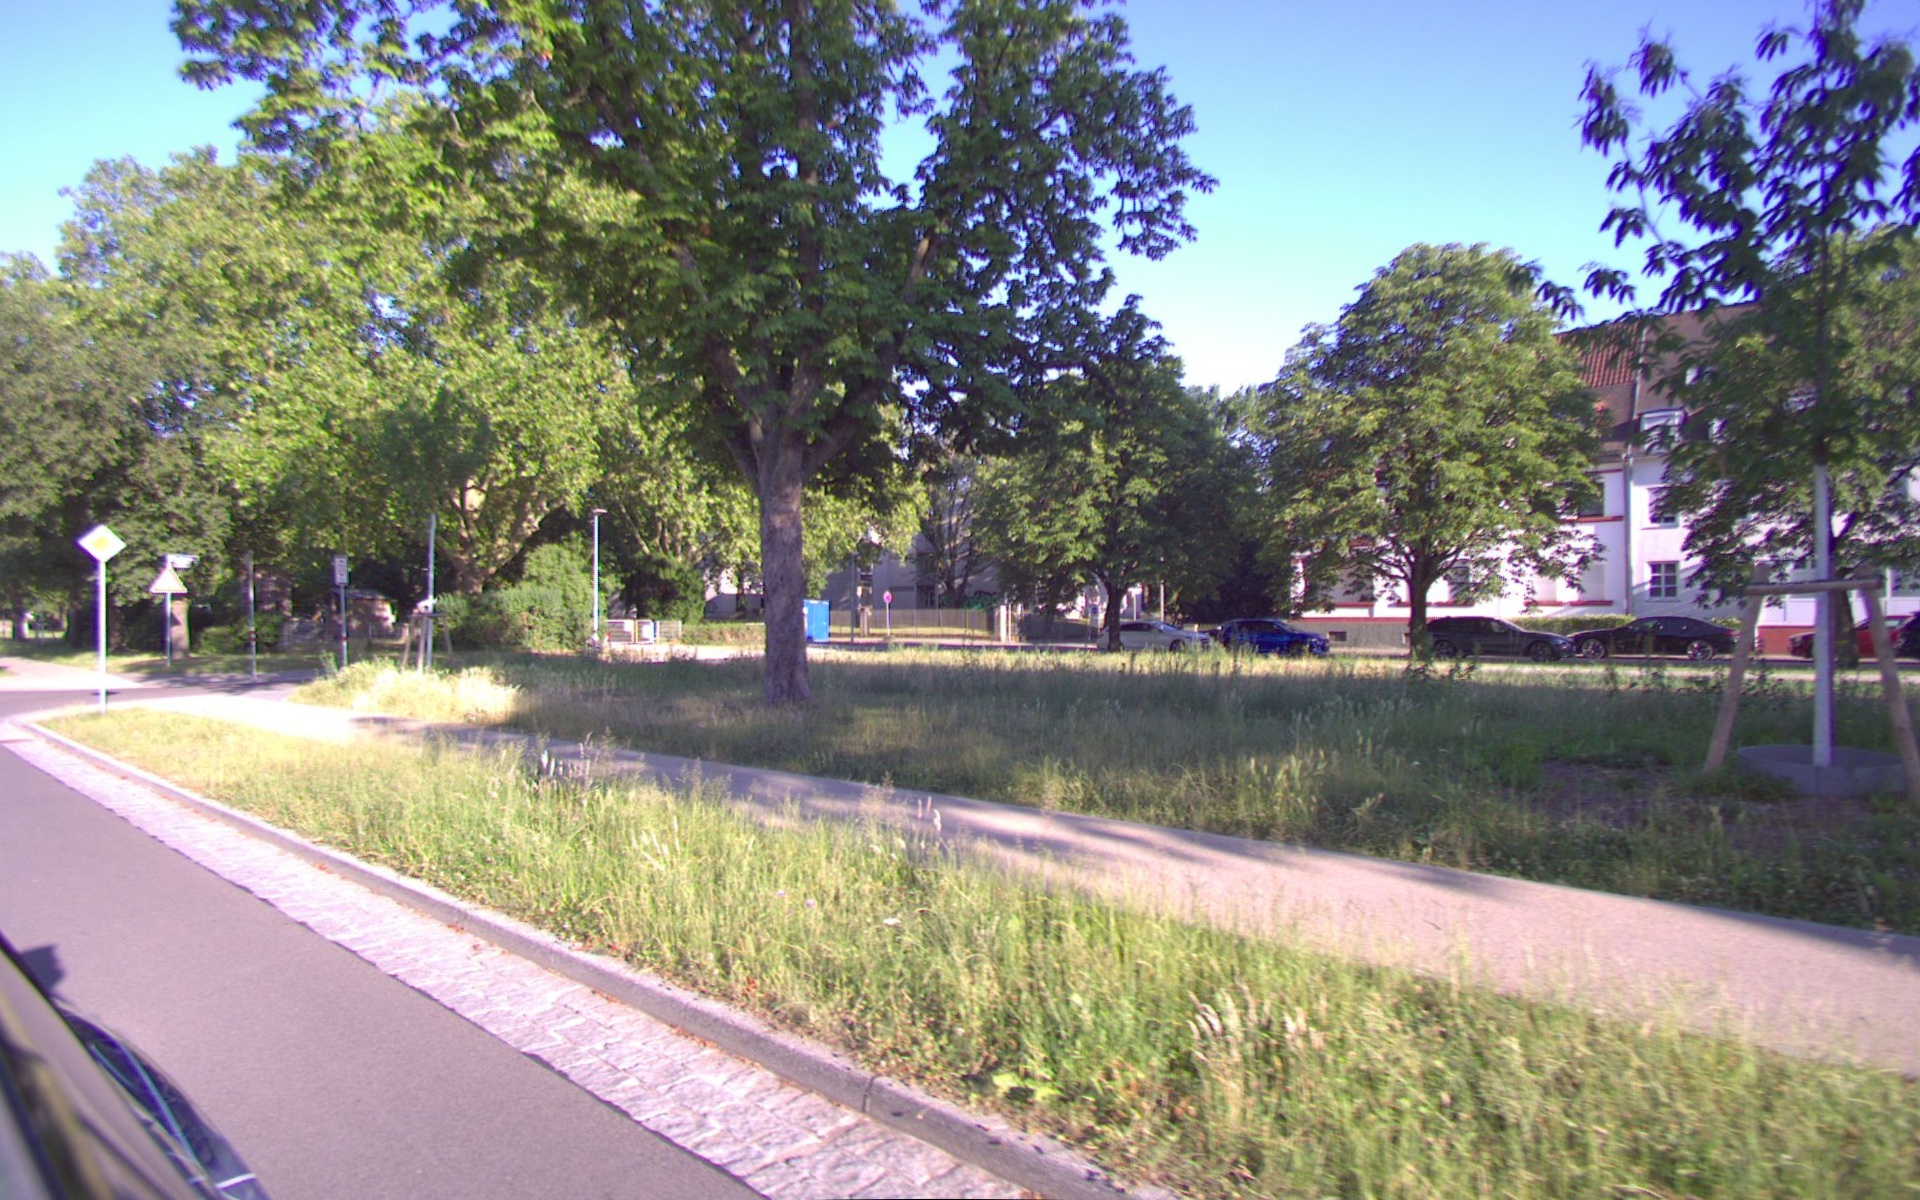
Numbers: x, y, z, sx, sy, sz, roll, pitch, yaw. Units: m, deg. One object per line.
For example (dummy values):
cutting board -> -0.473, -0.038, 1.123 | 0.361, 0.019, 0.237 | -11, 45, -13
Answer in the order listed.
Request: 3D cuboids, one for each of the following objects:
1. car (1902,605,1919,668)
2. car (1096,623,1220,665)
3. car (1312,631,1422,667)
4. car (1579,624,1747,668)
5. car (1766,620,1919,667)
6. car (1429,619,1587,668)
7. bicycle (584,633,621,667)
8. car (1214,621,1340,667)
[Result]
car -> 26.365, 0.895, 25.127 | 4.218, 1.609, 1.675 | -2, -2, 40
car -> 8.038, 1.771, 41.333 | 4.750, 1.609, 1.676 | -2, -2, 38
car -> 16.513, 1.974, 41.201 | 3.851, 1.342, 1.553 | -1, -1, 42
car -> 23.586, 1.505, 34.087 | 4.479, 1.342, 1.553 | -1, -1, 42
car -> 27.362, 1.294, 30.670 | 4.478, 1.342, 1.553 | -1, -1, 42
car -> 17.592, 1.374, 32.590 | 4.217, 1.488, 1.676 | -2, -2, 39
bicycle -> -13.248, 1.845, 37.570 | 0.417, 1.196, 1.579 | 0, -1, 18
car -> 11.879, 1.641, 38.063 | 4.215, 1.609, 1.676 | -2, -2, 38
